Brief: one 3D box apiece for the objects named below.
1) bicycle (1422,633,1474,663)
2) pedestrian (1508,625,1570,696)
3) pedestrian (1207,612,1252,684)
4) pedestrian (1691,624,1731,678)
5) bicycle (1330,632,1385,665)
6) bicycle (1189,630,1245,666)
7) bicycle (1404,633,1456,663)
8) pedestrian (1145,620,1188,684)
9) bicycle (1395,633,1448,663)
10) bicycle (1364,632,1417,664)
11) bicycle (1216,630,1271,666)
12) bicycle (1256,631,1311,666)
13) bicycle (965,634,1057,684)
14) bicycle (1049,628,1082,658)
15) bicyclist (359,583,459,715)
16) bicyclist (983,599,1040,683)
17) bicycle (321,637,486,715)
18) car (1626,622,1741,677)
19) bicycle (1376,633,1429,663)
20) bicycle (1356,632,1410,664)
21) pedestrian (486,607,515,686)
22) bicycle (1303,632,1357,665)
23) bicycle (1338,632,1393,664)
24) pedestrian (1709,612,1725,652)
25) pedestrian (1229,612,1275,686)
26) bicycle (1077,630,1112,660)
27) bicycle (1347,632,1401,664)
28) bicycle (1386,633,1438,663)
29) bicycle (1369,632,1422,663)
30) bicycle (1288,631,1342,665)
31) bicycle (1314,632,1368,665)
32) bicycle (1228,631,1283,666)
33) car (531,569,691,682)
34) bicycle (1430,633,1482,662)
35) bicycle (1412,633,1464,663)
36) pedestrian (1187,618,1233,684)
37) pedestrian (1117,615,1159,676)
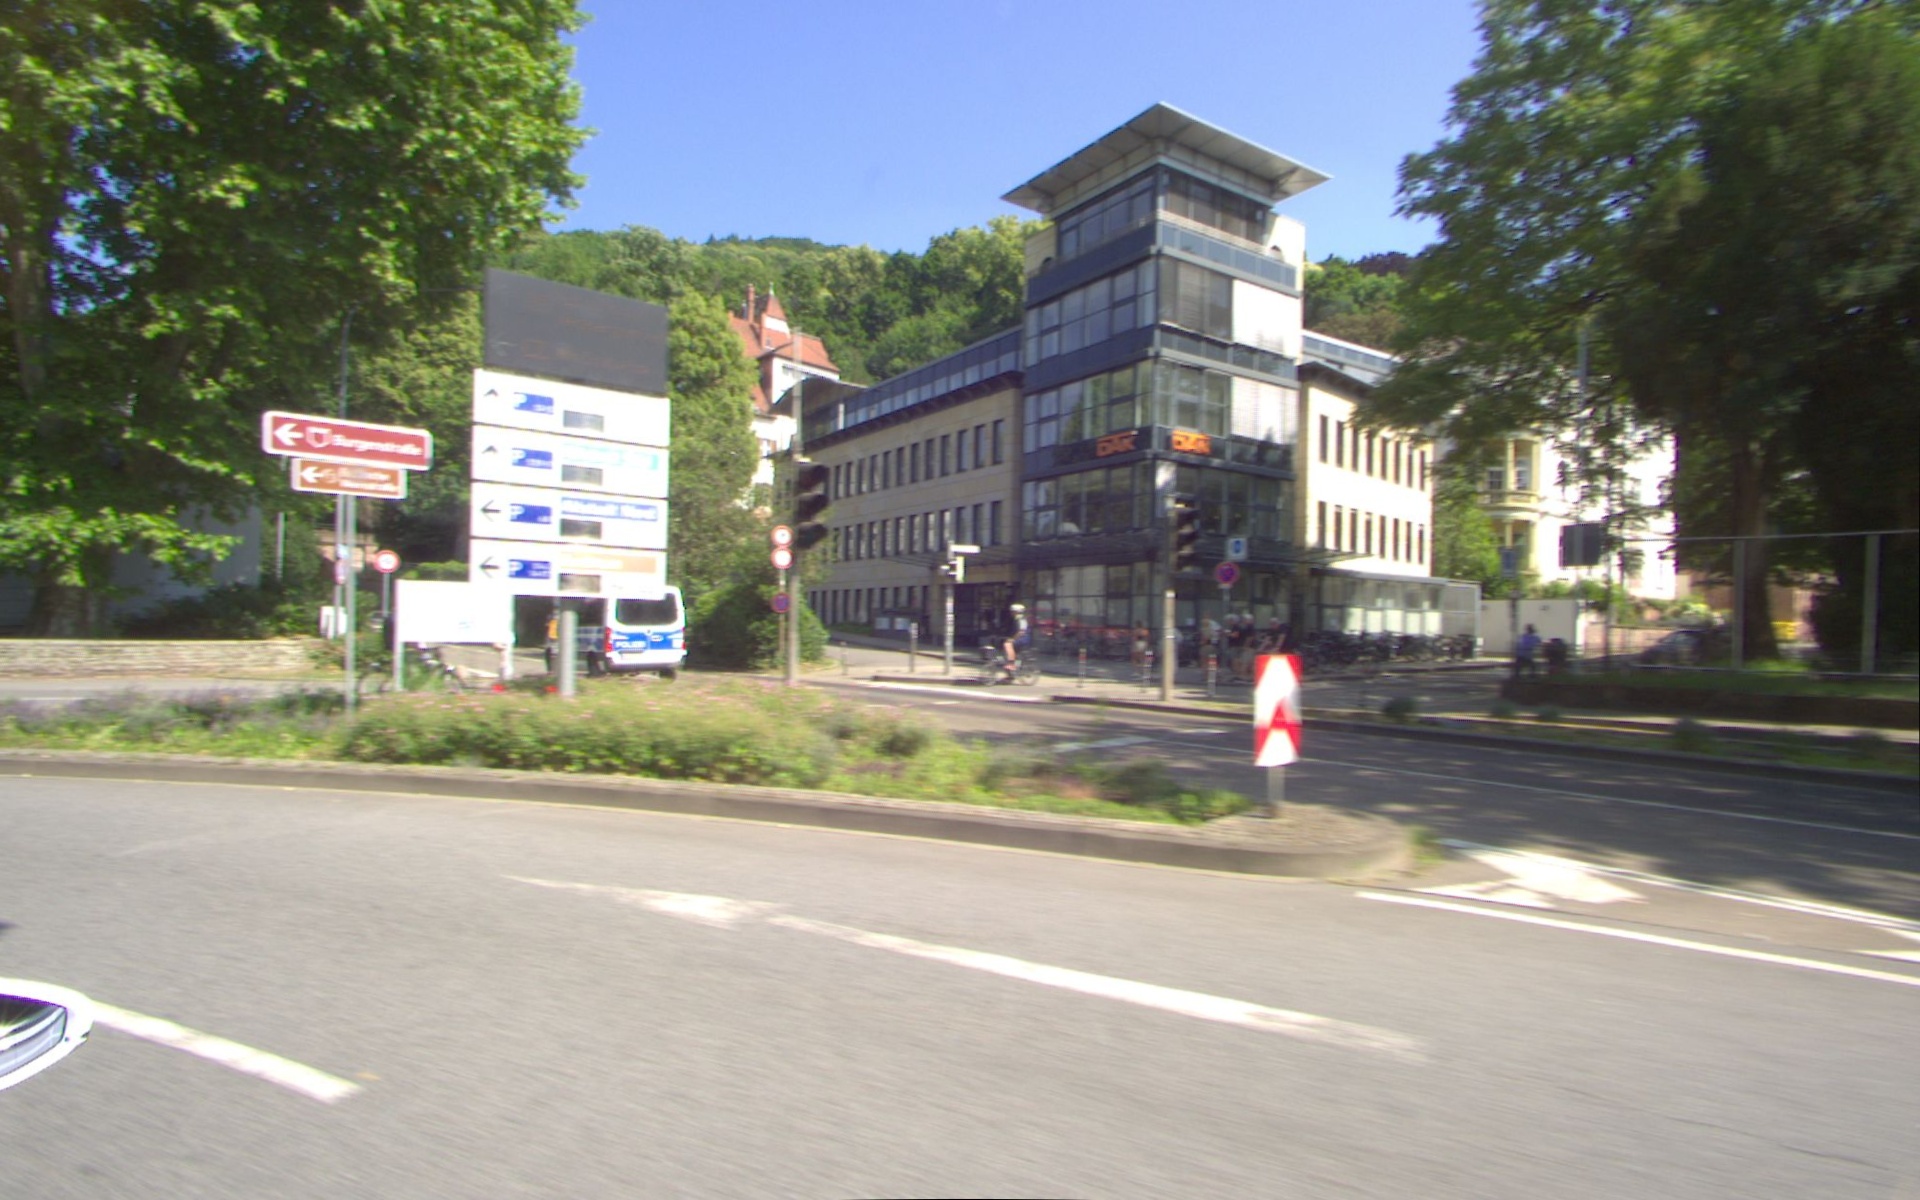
[{"bbox_3d":[19.206,1.873,39.457,0.532,1.099,1.823,1,-1,-33],"label":"bicycle"},{"bbox_3d":[13.487,1.399,23.343,1.105,1.601,0.739,1,-1,-22],"label":"pedestrian"},{"bbox_3d":[7.159,1.269,26.617,0.762,1.878,0.825,2,-1,-29],"label":"pedestrian"},{"bbox_3d":[22.475,1.517,29.955,0.658,1.566,0.765,1,0,-34],"label":"pedestrian"},{"bbox_3d":[14.033,1.696,35.422,0.532,1.099,1.823,1,-1,-33],"label":"bicycle"},{"bbox_3d":[8.194,1.530,31.997,0.532,1.099,1.823,1,-1,-33],"label":"bicycle"},{"bbox_3d":[18.215,1.844,38.851,0.532,1.099,1.823,1,-1,-33],"label":"bicycle"},{"bbox_3d":[5.550,1.400,26.936,0.763,1.684,0.825,2,-1,-30],"label":"pedestrian"},{"bbox_3d":[17.737,1.829,38.524,0.532,1.099,1.823,1,-1,-33],"label":"bicycle"},{"bbox_3d":[15.881,1.762,36.962,0.532,1.099,1.823,1,-1,-33],"label":"bicycle"},{"bbox_3d":[9.212,1.560,32.617,0.532,1.099,1.823,1,-1,-33],"label":"bicycle"},{"bbox_3d":[10.818,1.606,33.588,0.532,1.099,1.823,1,-1,-33],"label":"bicycle"},{"bbox_3d":[1.205,1.396,23.786,2.050,1.127,0.754,2,-1,-23],"label":"bicycle"},{"bbox_3d":[3.775,1.519,35.797,0.401,1.026,1.332,1,-1,-34],"label":"bicycle"},{"bbox_3d":[-8.429,0.753,15.357,1.108,1.957,0.748,1,-1,-10],"label":"bicyclist"},{"bbox_3d":[1.218,0.977,23.790,1.111,1.957,0.746,2,-1,-23],"label":"bicyclist"},{"bbox_3d":[-8.477,1.160,15.344,2.044,1.127,0.756,2,-1,-11],"label":"bicycle"},{"bbox_3d":[23.635,1.576,32.670,4.081,1.668,1.821,2,-1,-35],"label":"car"},{"bbox_3d":[16.712,1.798,37.847,0.532,1.099,1.823,1,-1,-33],"label":"bicycle"},{"bbox_3d":[15.419,1.745,36.555,0.532,1.099,1.823,1,-1,-33],"label":"bicycle"},{"bbox_3d":[-9.742,0.982,21.224,0.540,1.642,0.631,1,0,-26],"label":"pedestrian"},{"bbox_3d":[12.853,1.666,34.837,0.532,1.099,1.823,1,-1,-33],"label":"bicycle"},{"bbox_3d":[14.488,1.713,35.817,0.532,1.099,1.823,1,-1,-33],"label":"bicycle"},{"bbox_3d":[38.288,1.620,50.659,0.573,2.040,0.489,1,0,-40],"label":"pedestrian"},{"bbox_3d":[7.540,1.256,25.890,0.762,1.878,0.825,2,-1,-29],"label":"pedestrian"},{"bbox_3d":[4.596,1.536,34.334,0.401,0.953,1.332,1,-1,-34],"label":"bicycle"},{"bbox_3d":[14.954,1.729,36.179,0.532,1.099,1.823,1,-1,-33],"label":"bicycle"},{"bbox_3d":[17.224,1.814,38.183,0.532,1.099,1.823,1,-1,-33],"label":"bicycle"},{"bbox_3d":[16.257,1.781,37.458,0.532,1.099,1.823,1,-1,-33],"label":"bicycle"},{"bbox_3d":[12.269,1.654,34.672,0.532,1.099,1.823,1,-1,-33],"label":"bicycle"},{"bbox_3d":[13.379,1.682,35.204,0.532,1.099,1.823,1,-1,-33],"label":"bicycle"},{"bbox_3d":[9.698,1.575,32.952,0.532,1.099,1.823,1,-1,-33],"label":"bicycle"},{"bbox_3d":[-8.780,0.647,24.921,2.058,2.540,4.886,3,-2,-41],"label":"car"},{"bbox_3d":[19.709,1.890,39.825,0.532,1.099,1.823,1,-1,-33],"label":"bicycle"},{"bbox_3d":[18.691,1.859,39.155,0.532,1.099,1.823,1,-1,-33],"label":"bicycle"},{"bbox_3d":[6.470,1.310,25.895,0.763,1.684,0.825,2,-1,-30],"label":"pedestrian"},{"bbox_3d":[4.980,1.268,28.021,0.762,1.684,0.825,2,-1,-29],"label":"pedestrian"}]
